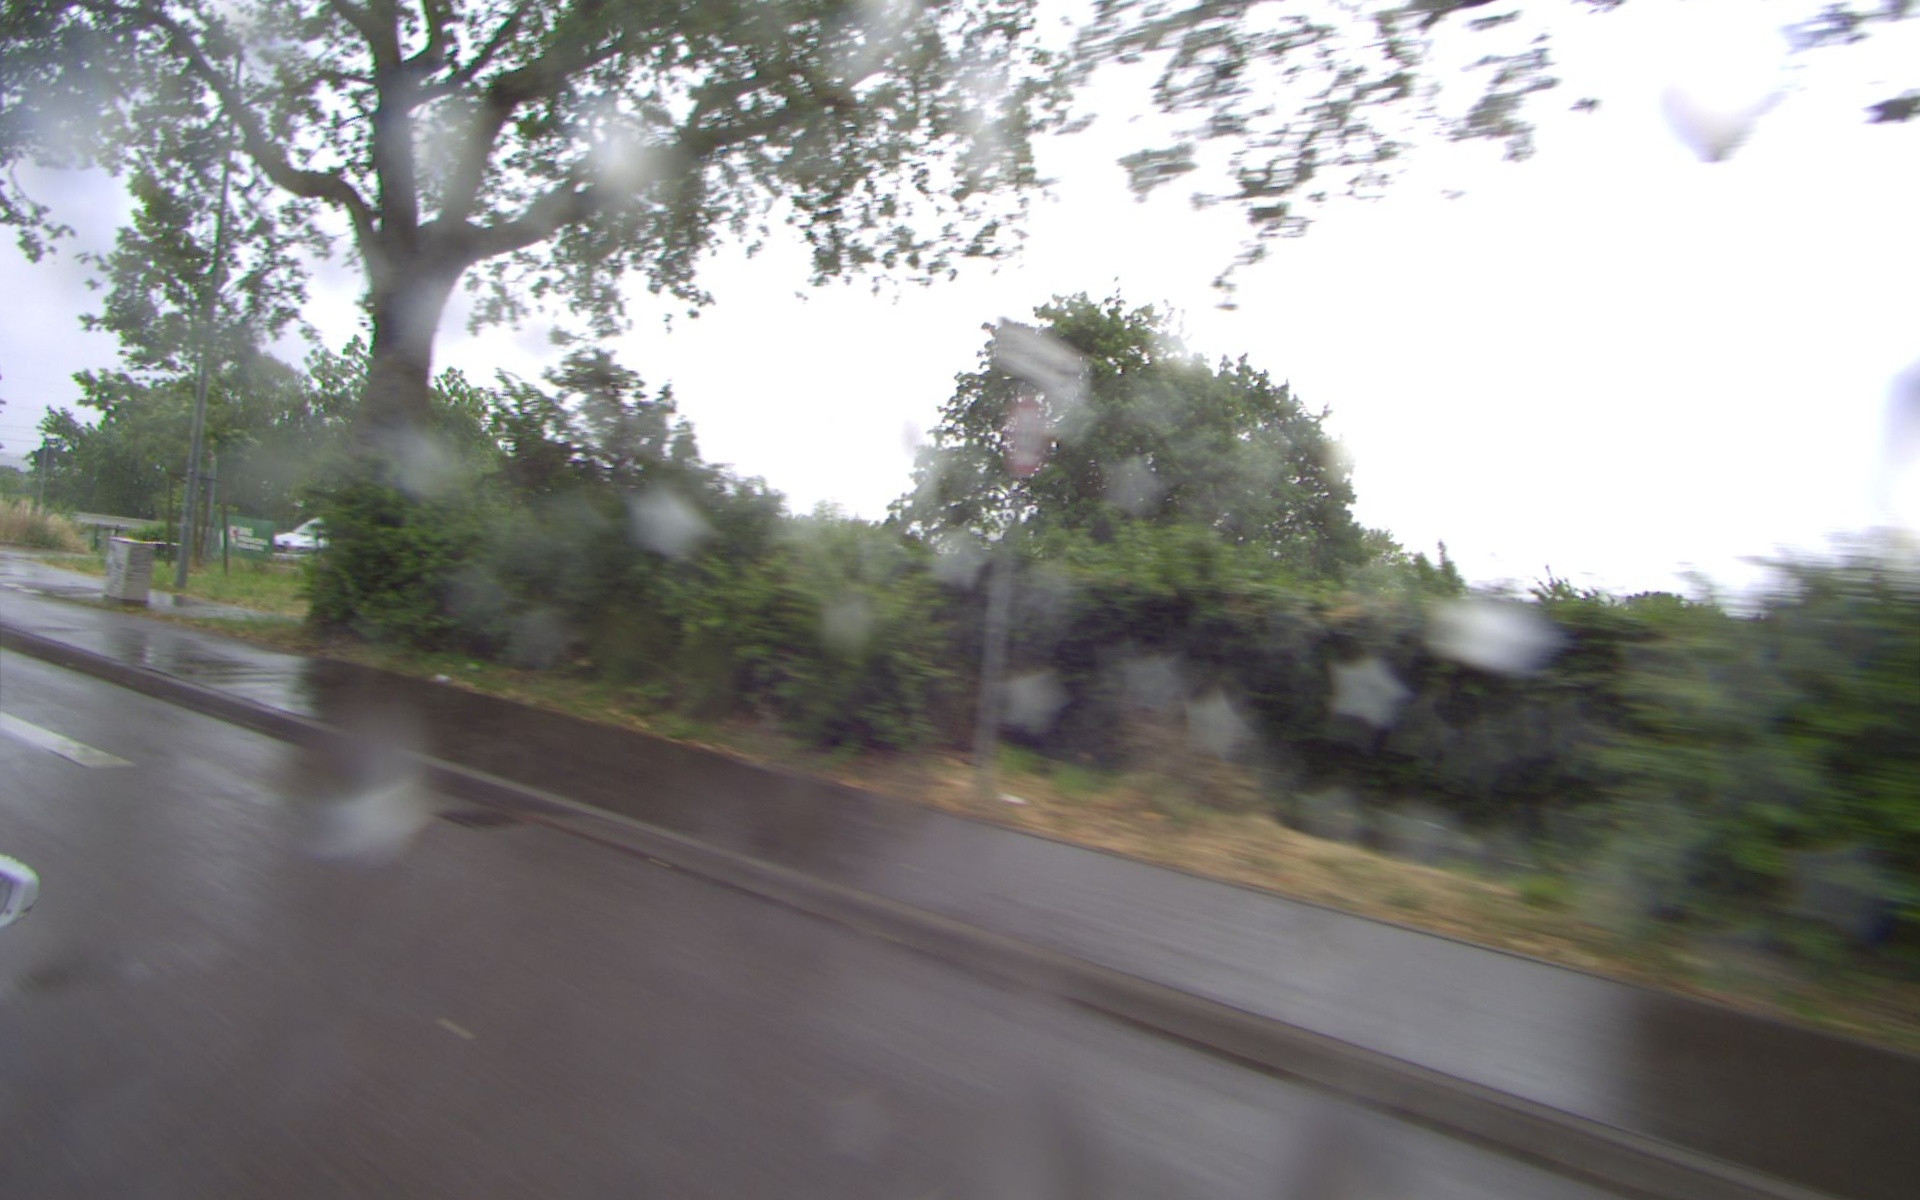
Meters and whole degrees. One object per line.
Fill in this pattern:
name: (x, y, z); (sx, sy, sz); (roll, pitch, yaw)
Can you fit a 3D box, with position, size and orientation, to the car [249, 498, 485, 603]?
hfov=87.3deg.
car: (-16.298, -1.289, 28.046); (1.965, 2.036, 5.266); (7, -3, 27)
